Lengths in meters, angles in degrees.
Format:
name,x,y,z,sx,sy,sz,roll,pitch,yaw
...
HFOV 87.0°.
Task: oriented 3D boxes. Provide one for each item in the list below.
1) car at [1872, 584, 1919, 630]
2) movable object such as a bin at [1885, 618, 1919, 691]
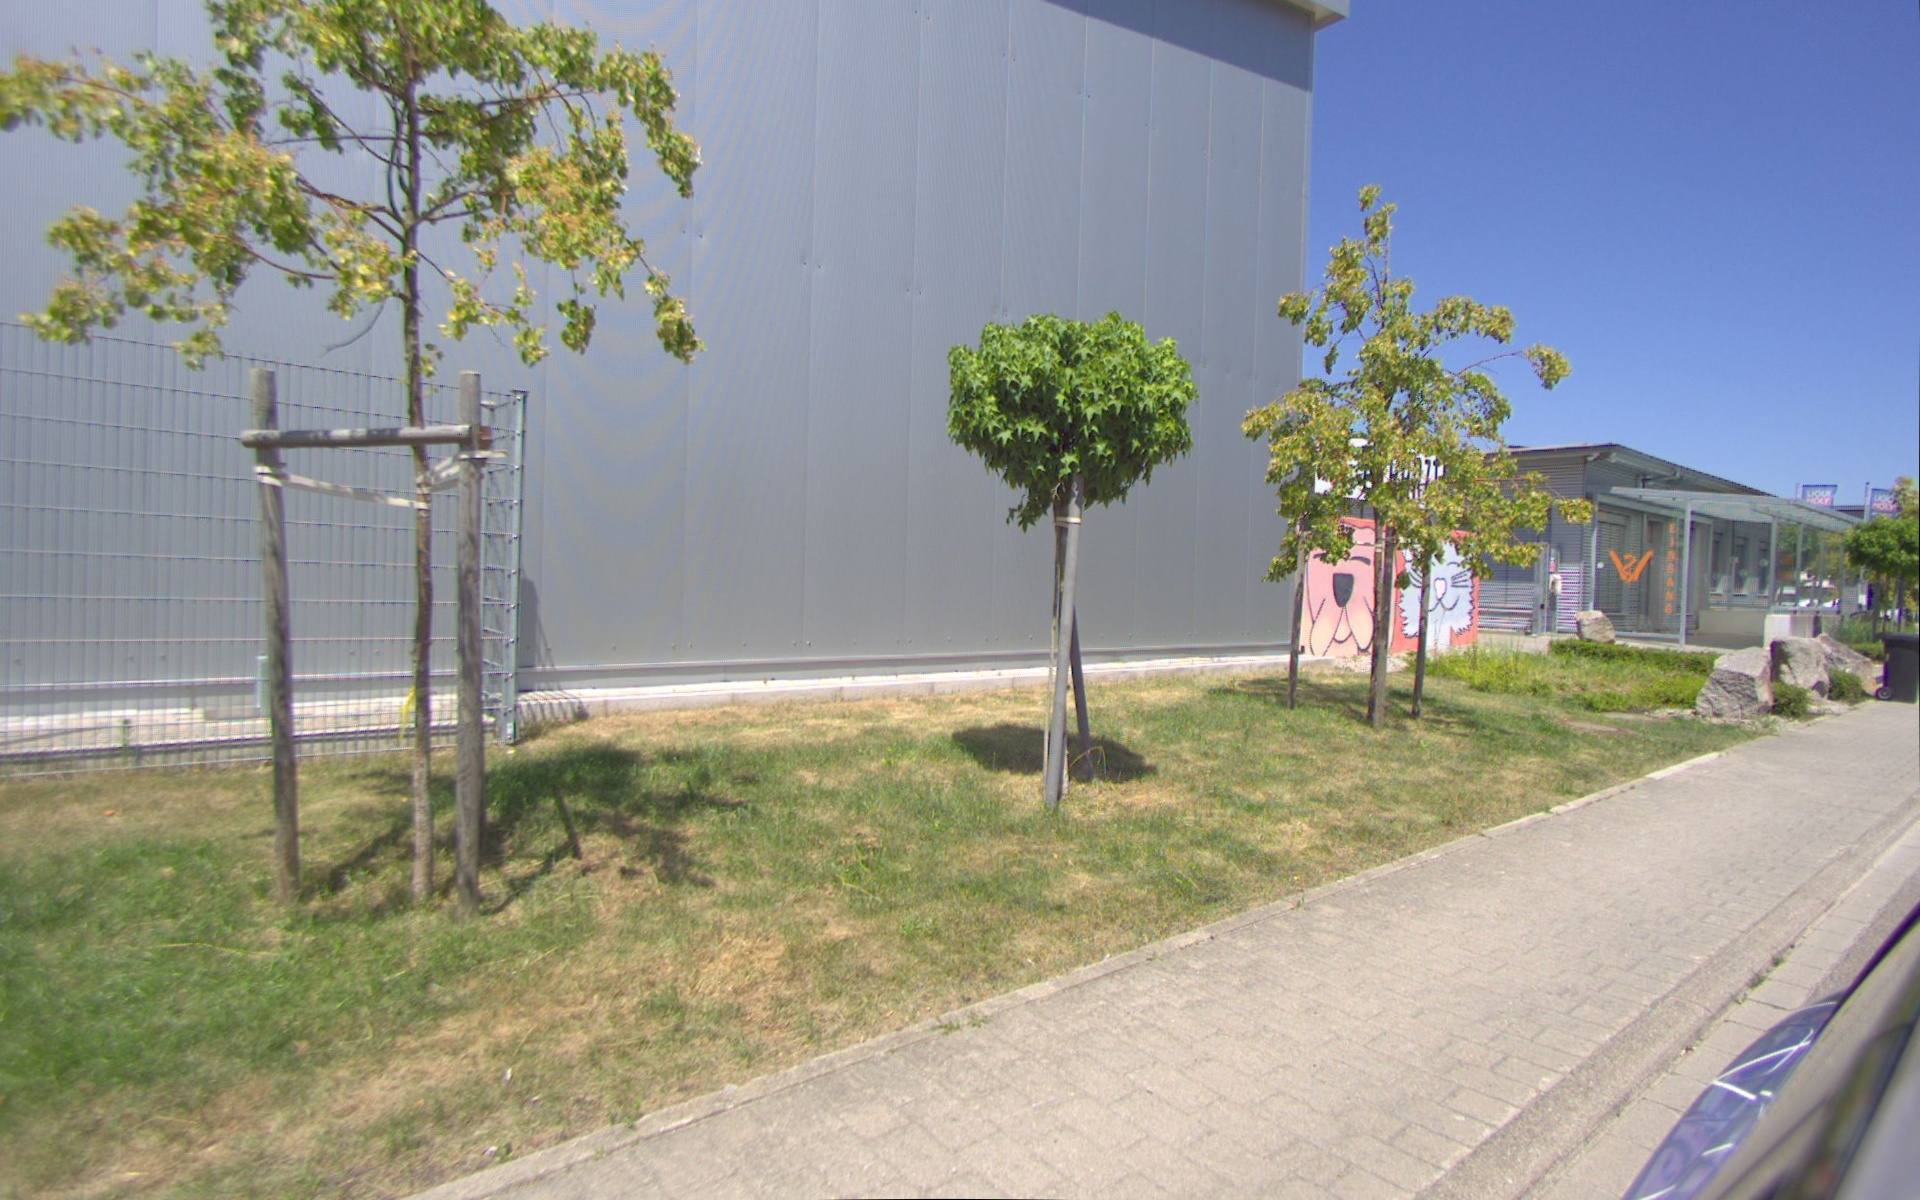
name,x,y,z,sx,sy,sz,roll,pitch,yaw
car,34.629,0.329,35.076,1.880,1.560,4.287,0,3,-42
movable object such as a bin,13.012,0.740,13.759,0.530,0.958,0.559,0,3,-41
